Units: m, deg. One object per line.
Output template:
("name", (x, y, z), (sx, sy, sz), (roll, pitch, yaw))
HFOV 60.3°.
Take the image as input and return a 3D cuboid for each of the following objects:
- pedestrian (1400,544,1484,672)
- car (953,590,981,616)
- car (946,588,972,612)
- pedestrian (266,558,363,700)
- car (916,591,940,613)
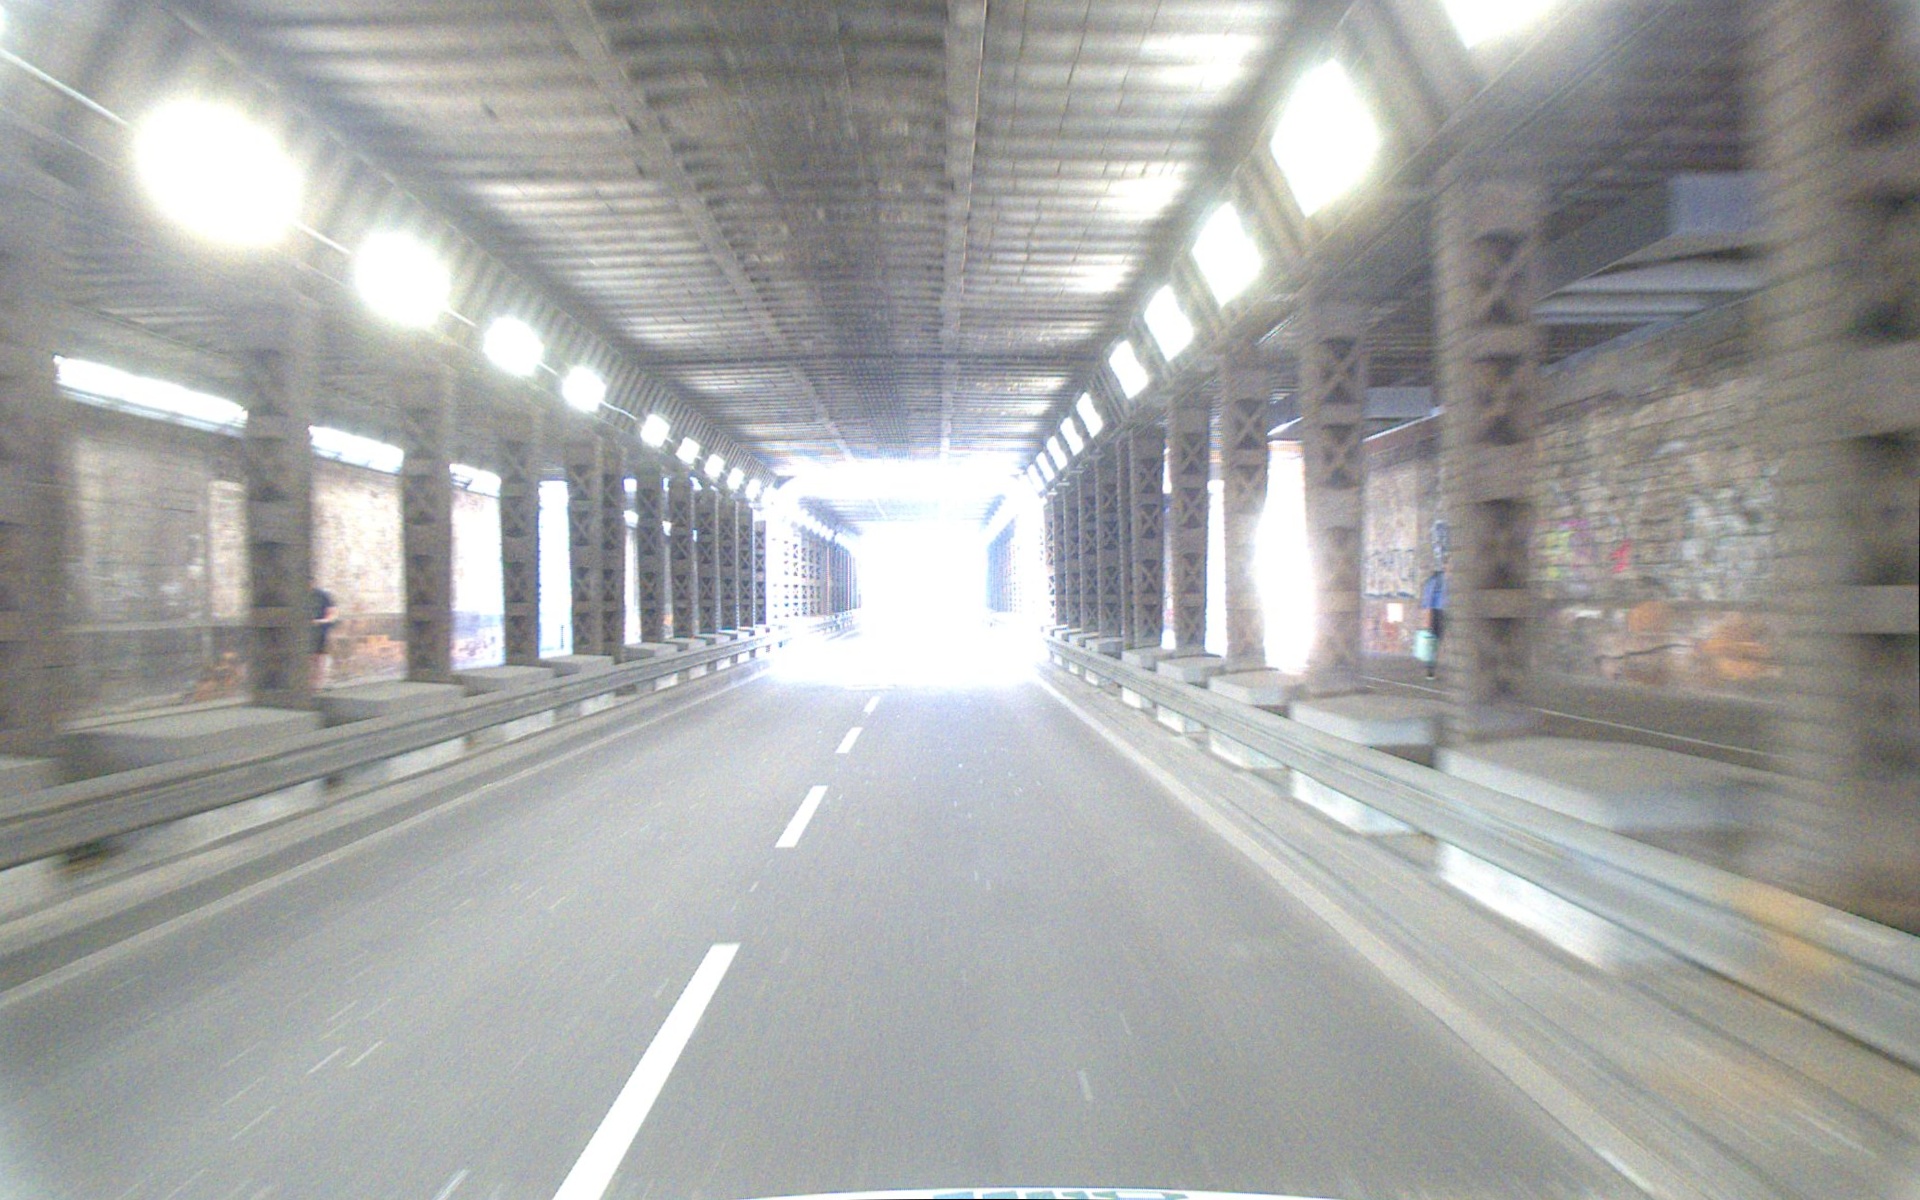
("pedestrian", (6.765, 0.110, 23.257), (0.783, 1.731, 1.111), (-2, 0, -2))
("car", (0.474, 0.195, 120.697), (1.953, 1.815, 3.999), (-1, 0, -1))
("car", (-0.070, -0.014, 130.563), (1.953, 1.815, 3.999), (-1, 0, -1))
("pedestrian", (-9.776, 0.445, 25.113), (0.939, 2.091, 1.355), (0, -1, 0))
("car", (-2.641, 0.157, 136.682), (1.953, 1.815, 3.999), (-1, 0, -1))
